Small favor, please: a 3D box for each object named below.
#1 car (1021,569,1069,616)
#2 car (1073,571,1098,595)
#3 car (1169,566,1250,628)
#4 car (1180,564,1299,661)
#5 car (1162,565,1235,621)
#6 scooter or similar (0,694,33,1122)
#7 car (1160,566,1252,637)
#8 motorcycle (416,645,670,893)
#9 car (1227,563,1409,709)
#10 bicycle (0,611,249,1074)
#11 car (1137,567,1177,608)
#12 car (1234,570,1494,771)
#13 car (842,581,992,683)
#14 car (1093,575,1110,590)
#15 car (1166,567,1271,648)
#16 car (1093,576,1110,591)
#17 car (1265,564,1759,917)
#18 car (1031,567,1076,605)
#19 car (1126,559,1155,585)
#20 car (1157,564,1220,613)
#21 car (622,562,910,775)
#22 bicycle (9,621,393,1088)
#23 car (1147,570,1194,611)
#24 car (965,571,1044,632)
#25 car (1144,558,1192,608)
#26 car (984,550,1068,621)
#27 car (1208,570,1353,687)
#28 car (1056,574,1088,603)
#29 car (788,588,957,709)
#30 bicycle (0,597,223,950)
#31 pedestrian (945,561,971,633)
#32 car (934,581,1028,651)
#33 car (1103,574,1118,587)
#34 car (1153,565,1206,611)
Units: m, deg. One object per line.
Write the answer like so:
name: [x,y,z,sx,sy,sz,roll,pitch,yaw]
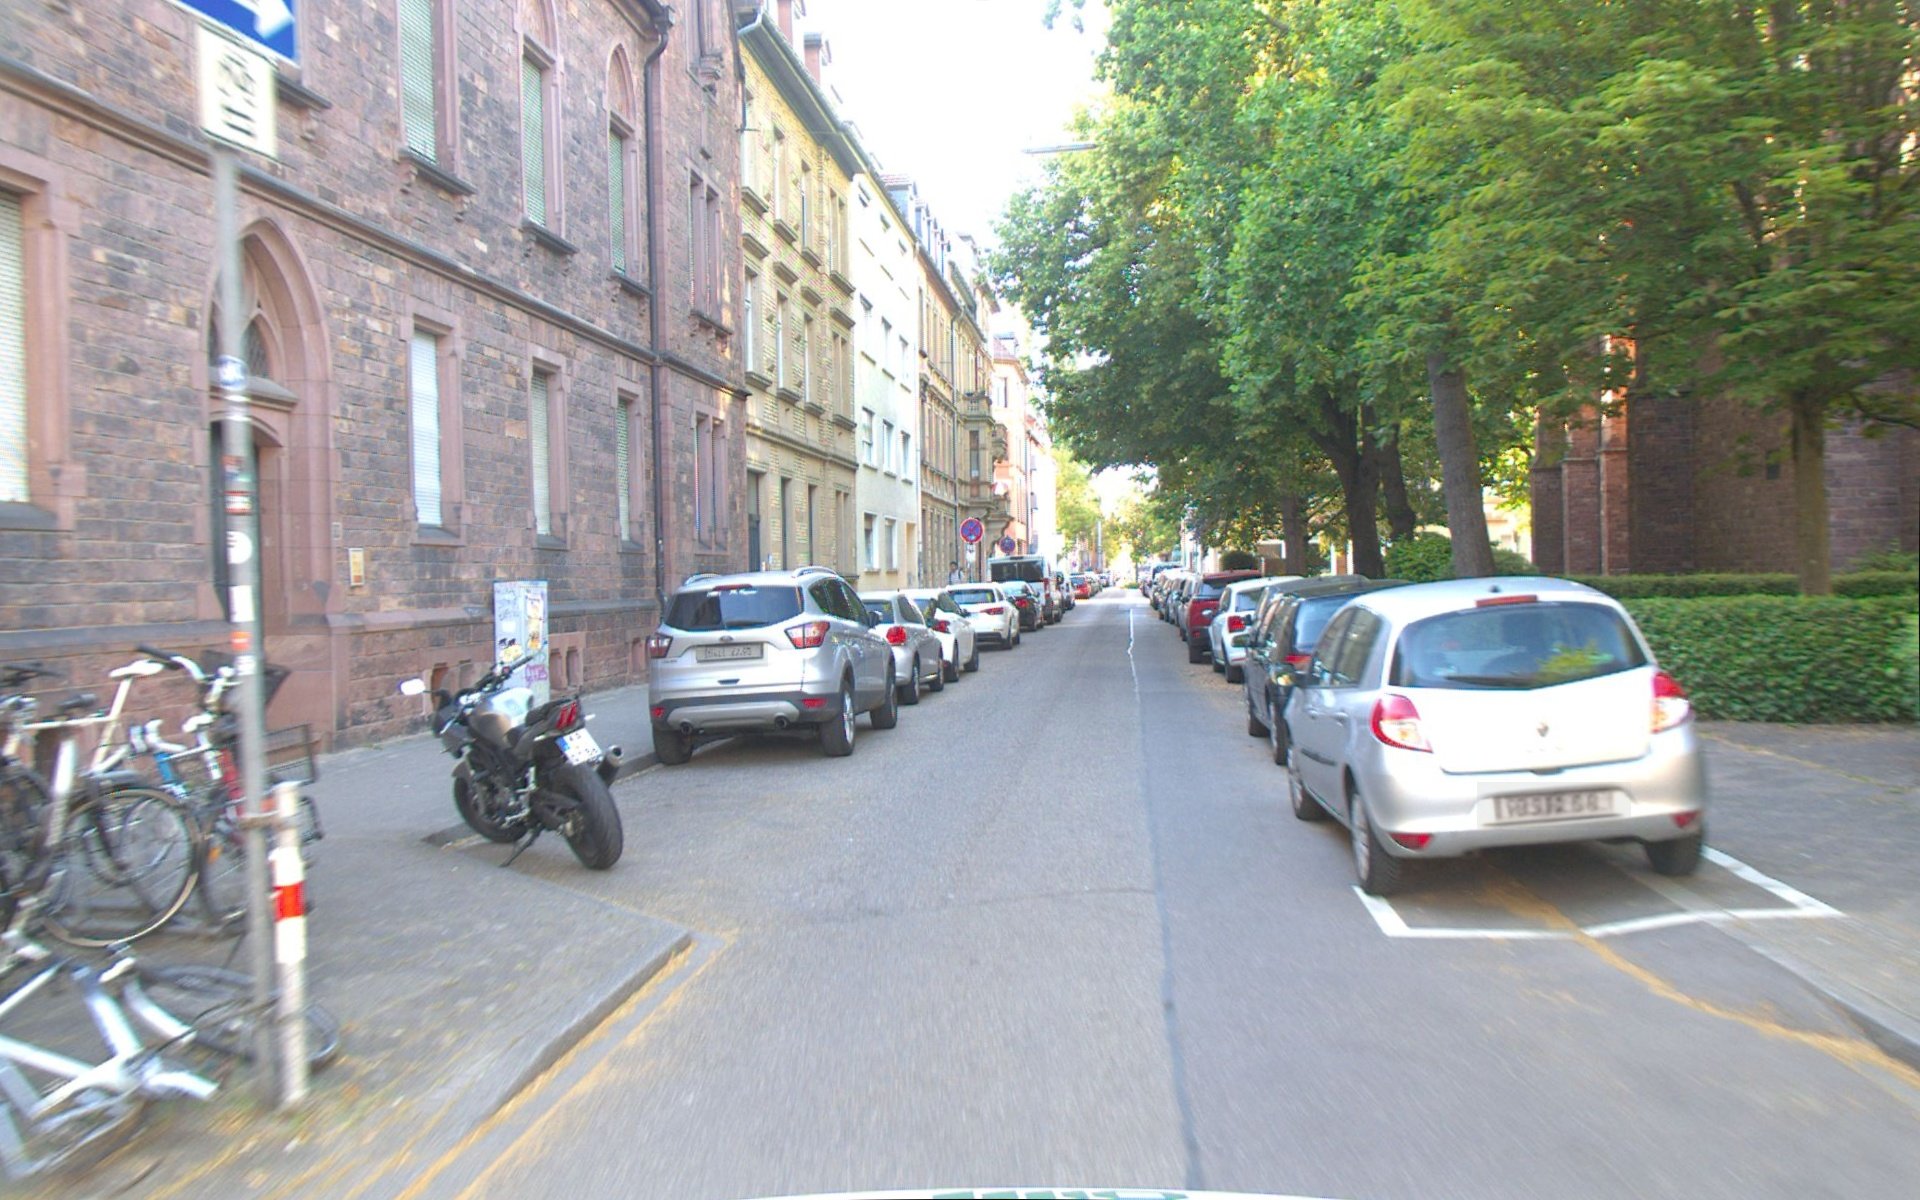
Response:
car: [3.466,-0.341,66.784,1.755,1.601,4.004,-1,4,5]
car: [10.239,-1.421,134.622,1.738,1.847,4.004,1,1,8]
car: [6.916,-0.104,46.207,1.951,1.601,4.003,-1,1,5]
car: [5.101,0.189,30.635,1.854,1.653,4.003,-1,1,5]
car: [7.265,-0.224,50.706,1.951,1.601,4.003,-1,1,5]
scooter or similar: [-3.289,0.964,4.586,0.518,1.299,1.302,-1,1,9]
car: [5.961,0.017,40.480,1.951,1.601,4.003,-1,1,5]
motorcycle: [-2.519,0.912,9.767,0.659,1.228,2.282,-2,1,-35]
car: [4.356,0.381,20.628,1.704,1.601,4.003,-1,1,5]
bicycle: [-3.465,0.797,6.543,0.562,1.448,2.497,-2,1,-9]
car: [8.786,-0.589,74.033,1.653,1.758,4.003,1,1,5]
car: [3.512,0.530,15.041,1.686,1.549,4.003,-1,1,5]
car: [-0.625,0.468,27.106,1.842,1.435,4.003,-3,0,7]
car: [17.219,-2.146,200.619,1.951,1.676,4.003,-1,1,6]
car: [5.515,0.130,35.675,1.951,1.601,4.003,-1,1,5]
car: [16.450,-1.955,192.078,1.951,1.676,4.003,-1,1,6]
car: [2.879,0.604,9.541,1.687,1.549,4.002,-2,1,3]
car: [4.235,-0.650,74.527,1.862,1.601,4.003,-1,1,5]
car: [12.882,-2.025,118.077,1.951,1.758,4.003,-2,1,6]
car: [7.928,-0.400,57.742,1.951,1.601,4.003,-1,1,5]
car: [-1.730,0.564,16.165,1.842,1.736,4.003,-3,0,7]
bicycle: [-2.794,0.807,6.419,0.670,1.368,2.497,-2,1,-9]
car: [8.773,-0.412,69.165,1.755,1.601,4.225,-1,1,5]
car: [1.324,0.015,47.474,1.951,1.601,4.003,-1,1,5]
car: [10.092,-0.845,80.599,2.115,2.295,4.529,-1,1,5]
car: [2.220,-0.475,53.967,2.260,2.151,5.174,-1,1,7]
car: [4.912,0.373,25.794,1.802,1.623,4.003,-1,1,5]
car: [7.052,-0.764,103.978,1.909,1.739,4.003,-1,1,4]
car: [-1.097,0.595,22.613,1.688,1.417,4.003,-1,1,6]
bicycle: [-4.343,0.746,7.276,0.668,1.448,2.800,-1,1,6]
pedestrian: [-0.061,-0.084,47.473,0.671,2.049,0.691,-1,0,-1]
car: [0.514,0.313,36.733,1.734,1.377,4.003,-1,1,6]
car: [20.264,-2.654,222.669,1.951,1.676,4.003,-1,1,6]
car: [8.202,-0.467,62.096,1.755,1.601,4.003,-1,1,5]
